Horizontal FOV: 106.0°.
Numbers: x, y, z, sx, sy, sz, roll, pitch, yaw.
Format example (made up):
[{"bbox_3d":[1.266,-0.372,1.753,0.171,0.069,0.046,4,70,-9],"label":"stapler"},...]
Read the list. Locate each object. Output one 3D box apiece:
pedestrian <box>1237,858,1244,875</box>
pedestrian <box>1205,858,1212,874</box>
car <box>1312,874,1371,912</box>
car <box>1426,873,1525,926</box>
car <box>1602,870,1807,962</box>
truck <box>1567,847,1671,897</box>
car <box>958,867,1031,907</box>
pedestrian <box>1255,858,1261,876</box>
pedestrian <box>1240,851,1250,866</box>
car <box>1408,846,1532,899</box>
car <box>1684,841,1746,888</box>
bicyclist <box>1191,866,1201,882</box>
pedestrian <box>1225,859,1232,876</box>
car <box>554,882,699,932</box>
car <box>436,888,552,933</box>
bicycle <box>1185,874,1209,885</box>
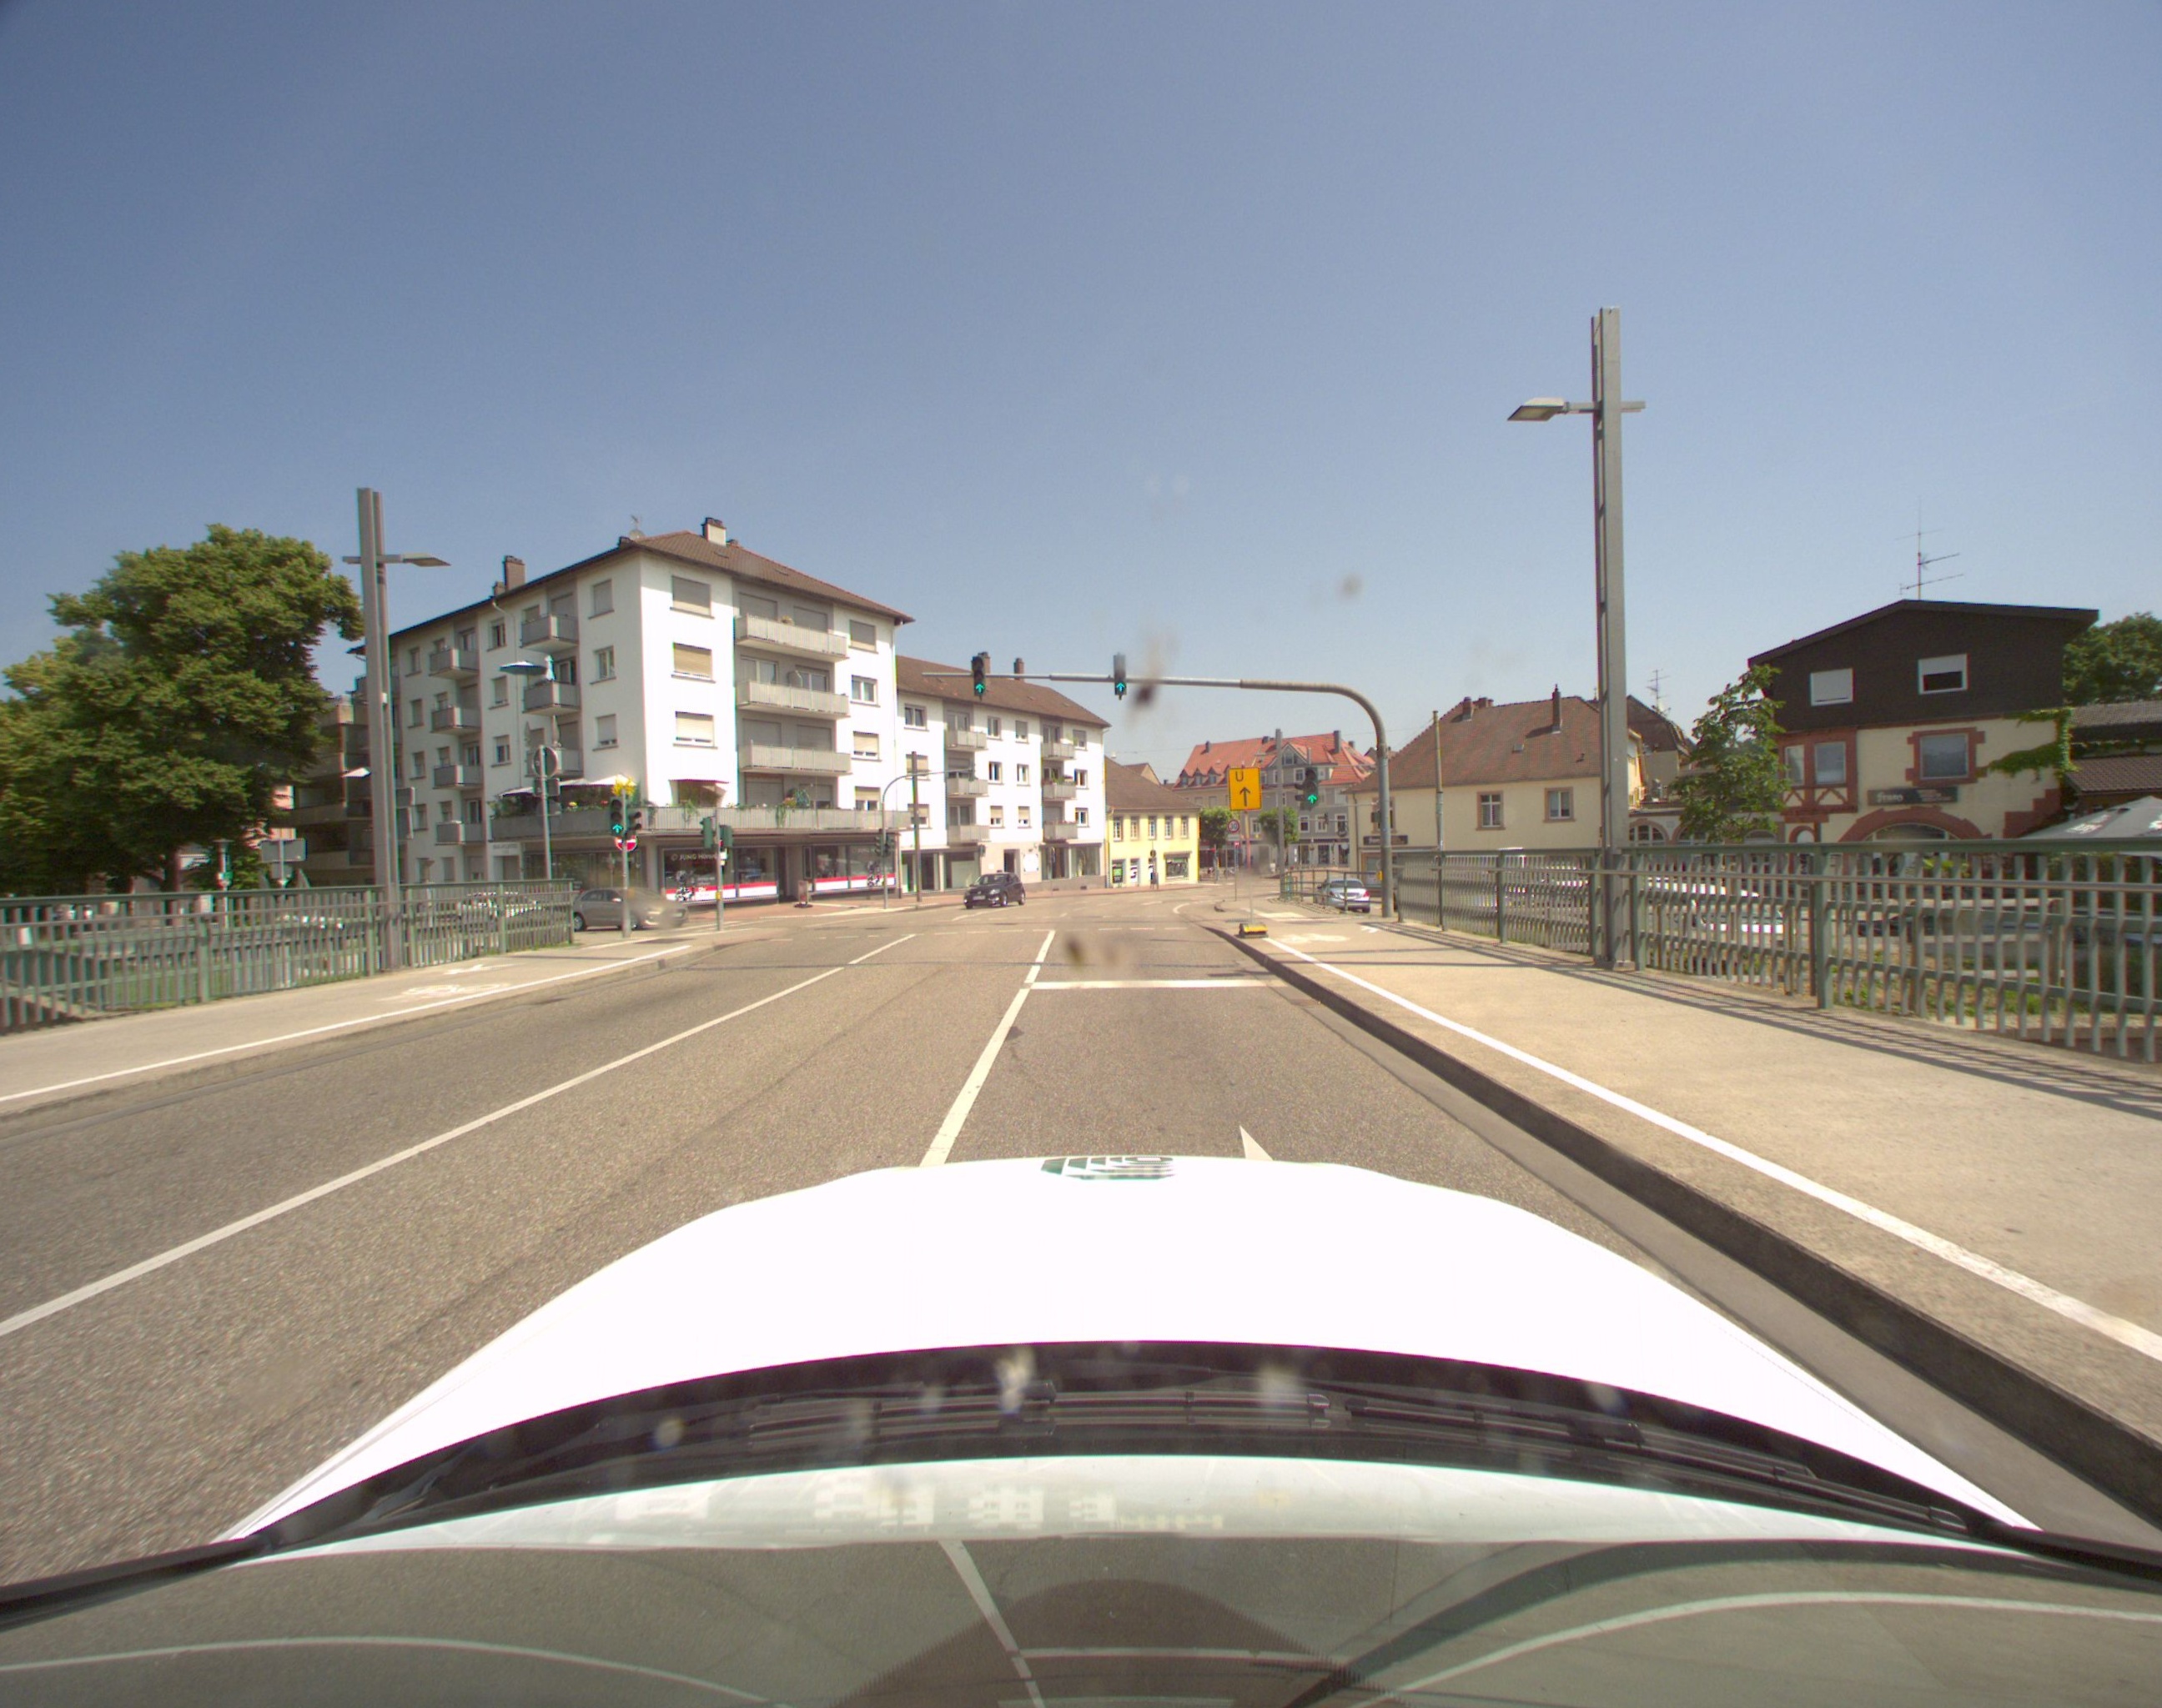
[{"bbox_3d":[18.375,1.450,93.699,0.763,2.013,0.564,0,1,13],"label":"pedestrian"},{"bbox_3d":[14.921,1.398,95.427,0.823,1.873,0.868,0,1,6],"label":"pedestrian"},{"bbox_3d":[11.232,1.638,35.371,1.742,1.471,4.262,0,-1,8],"label":"car"},{"bbox_3d":[14.017,1.560,29.233,1.917,1.580,4.497,0,1,8],"label":"car"},{"bbox_3d":[14.177,1.312,18.880,1.883,1.711,4.344,0,1,8],"label":"car"},{"bbox_3d":[25.431,0.795,38.550,4.017,2.215,1.825,0,1,36],"label":"truck"},{"bbox_3d":[-3.506,1.408,33.723,1.664,1.488,3.968,-4,-4,14],"label":"car"},{"bbox_3d":[20.475,1.479,94.199,0.605,2.013,0.557,0,1,14],"label":"pedestrian"},{"bbox_3d":[22.261,0.595,110.527,1.020,1.980,1.027,0,1,36],"label":"pedestrian"},{"bbox_3d":[20.274,0.935,42.547,5.560,2.628,2.256,-1,0,35],"label":"car"},{"bbox_3d":[29.031,0.435,37.253,4.022,2.013,1.641,-1,1,-43],"label":"car"},{"bbox_3d":[11.748,2.059,83.223,0.913,1.538,0.649,0,1,1],"label":"bicyclist"},{"bbox_3d":[17.365,1.550,95.810,0.789,1.965,0.535,0,1,22],"label":"pedestrian"},{"bbox_3d":[-15.240,1.775,27.337,4.334,1.420,1.711,-3,0,19],"label":"car"},{"bbox_3d":[-21.655,2.084,30.027,4.329,1.420,1.713,-3,0,29],"label":"car"},{"bbox_3d":[11.839,2.610,83.211,2.346,1.051,1.072,0,1,0],"label":"bicycle"}]
